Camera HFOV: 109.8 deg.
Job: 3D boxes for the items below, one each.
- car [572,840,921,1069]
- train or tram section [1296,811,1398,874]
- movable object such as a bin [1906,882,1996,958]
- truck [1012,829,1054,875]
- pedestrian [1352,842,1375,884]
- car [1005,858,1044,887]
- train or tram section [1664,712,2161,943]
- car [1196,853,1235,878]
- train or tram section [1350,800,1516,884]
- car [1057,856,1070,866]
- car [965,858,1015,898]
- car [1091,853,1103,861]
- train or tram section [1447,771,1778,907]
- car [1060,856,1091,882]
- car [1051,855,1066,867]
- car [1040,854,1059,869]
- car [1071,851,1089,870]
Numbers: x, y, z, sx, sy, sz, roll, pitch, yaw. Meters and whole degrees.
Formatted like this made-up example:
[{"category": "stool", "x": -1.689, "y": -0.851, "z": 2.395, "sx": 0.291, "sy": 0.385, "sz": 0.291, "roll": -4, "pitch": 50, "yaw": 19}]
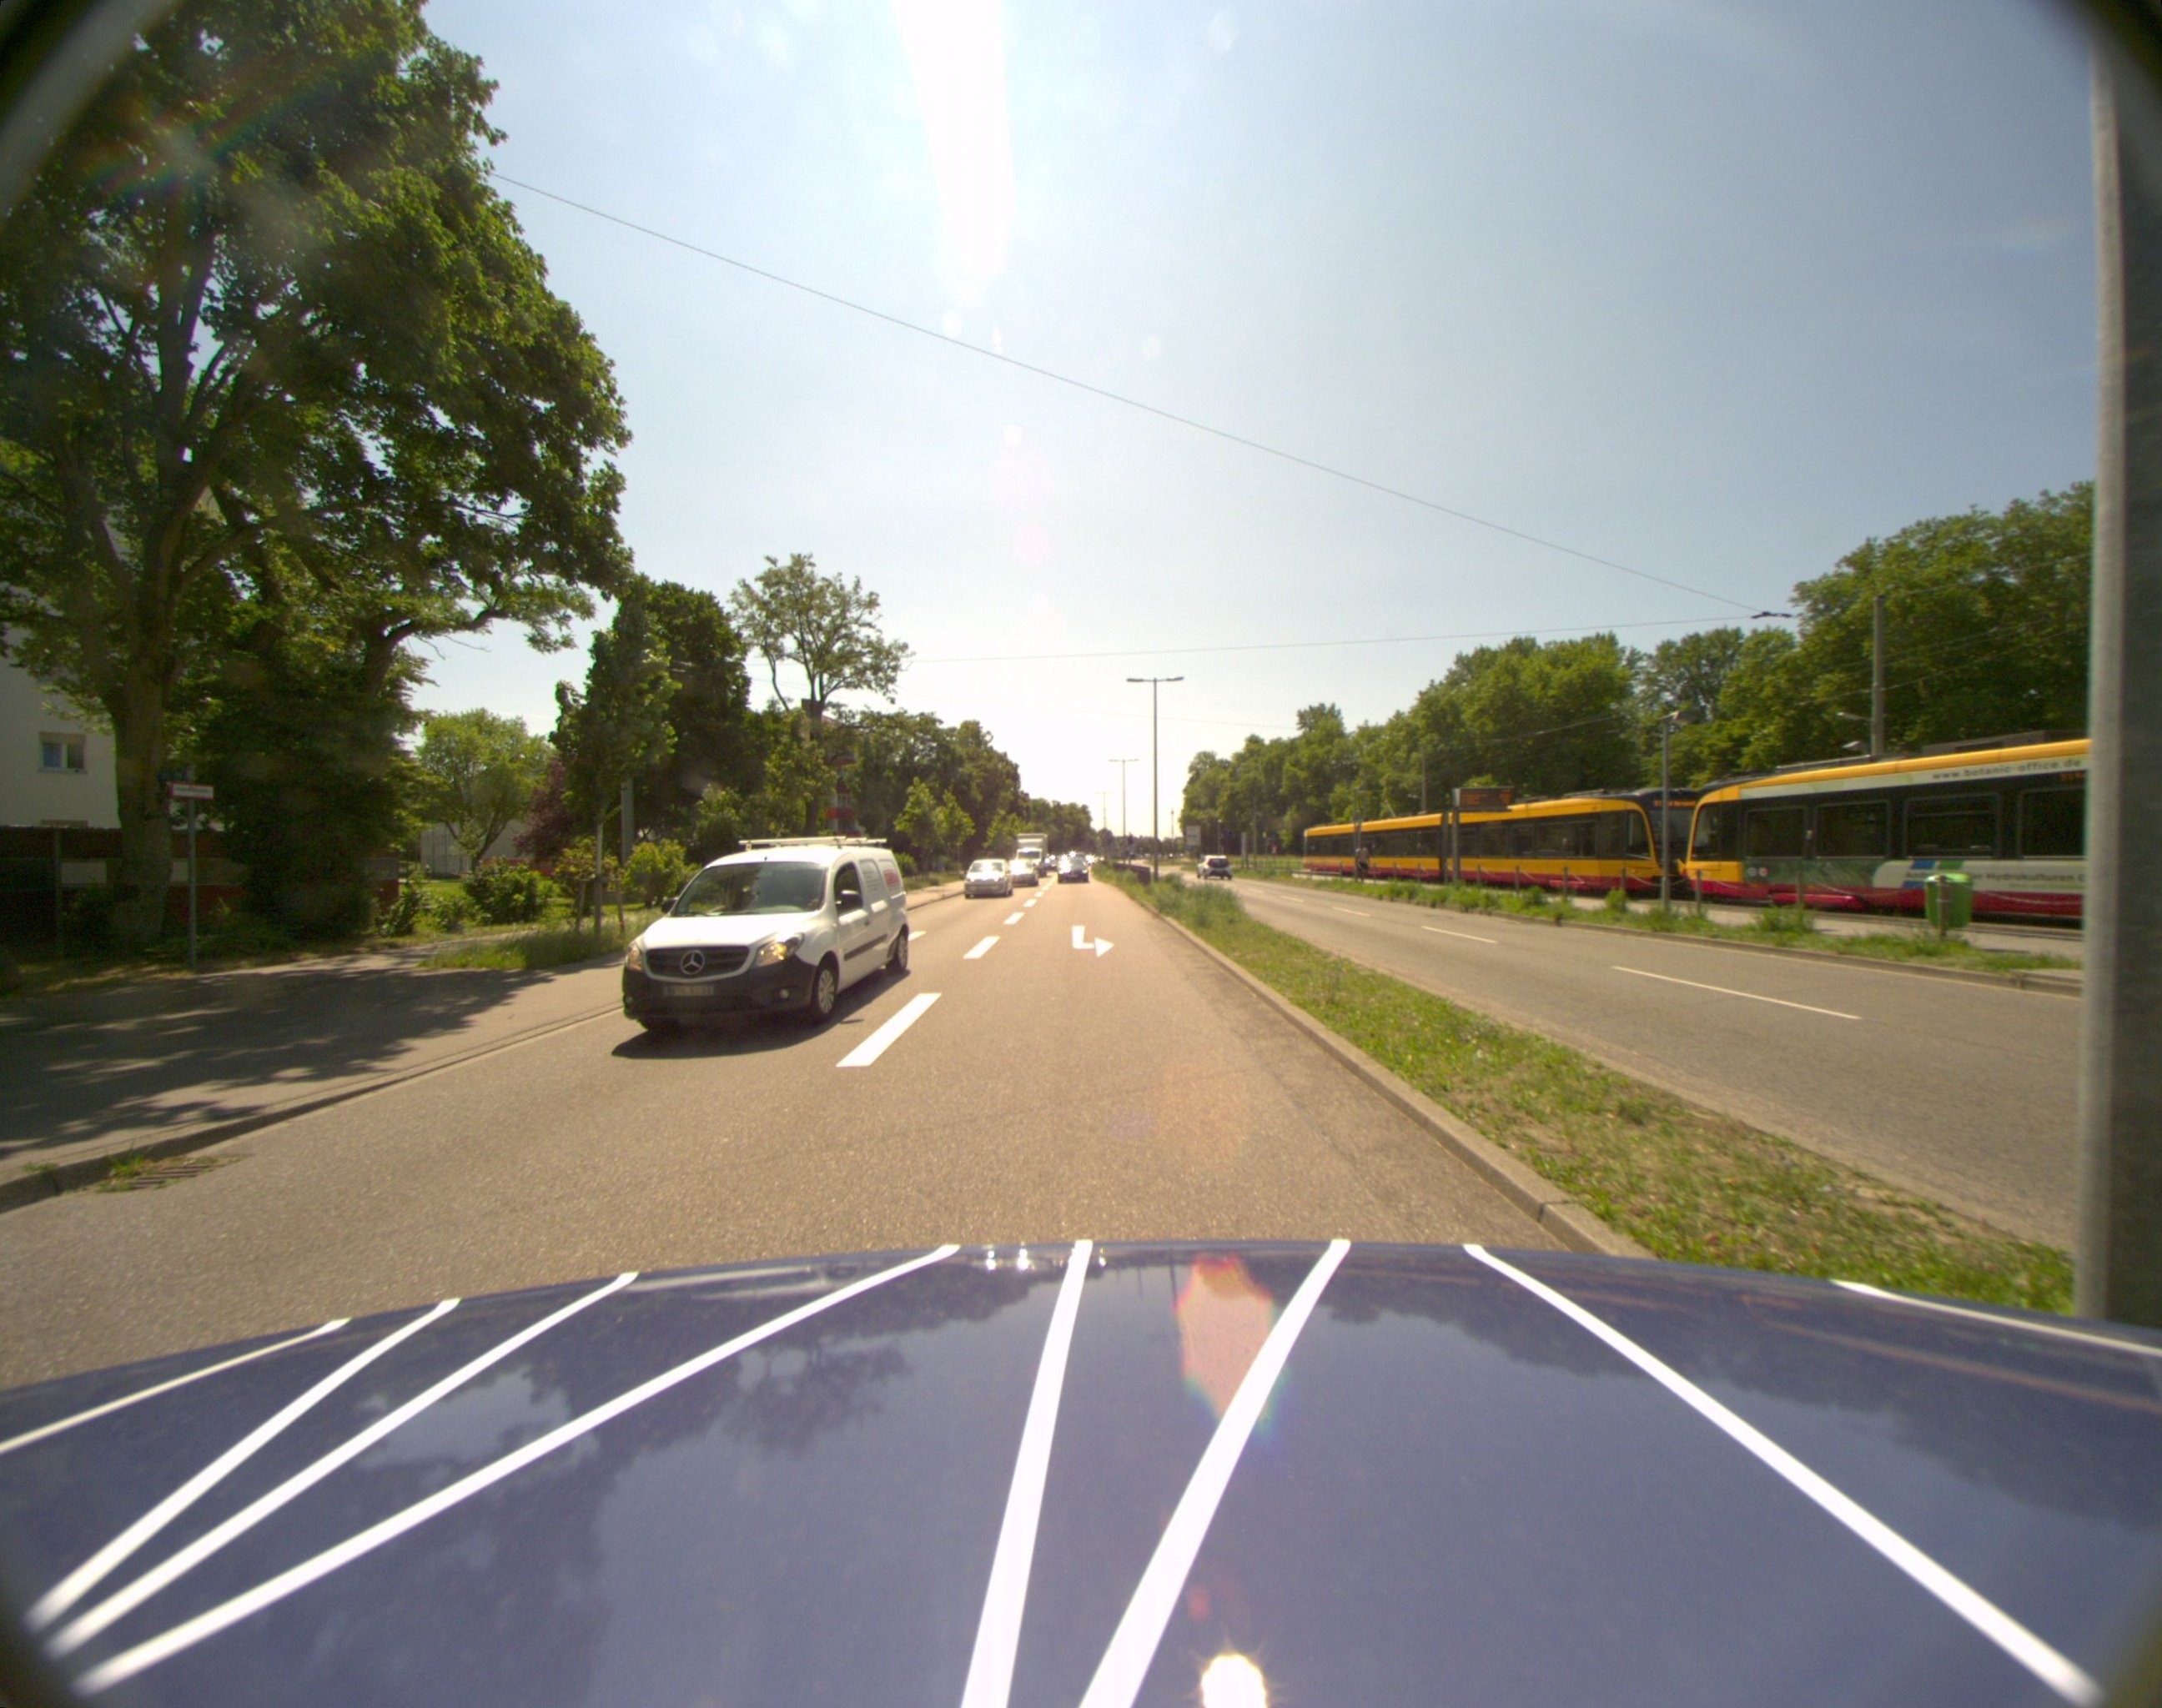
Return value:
[{"category": "car", "x": -3.322, "y": 0.836, "z": 8.894, "sx": 1.809, "sy": 1.845, "sz": 5.081, "roll": -2, "pitch": 0, "yaw": -1}, {"category": "train or tram section", "x": 18.293, "y": -0.724, "z": 53.268, "sx": 2.957, "sy": 3.833, "sz": 11.539, "roll": -2, "pitch": 0, "yaw": 0}, {"category": "movable object such as a bin", "x": 11.798, "y": 0.880, "z": 10.316, "sx": 0.482, "sy": 0.972, "sz": 0.645, "roll": -1, "pitch": 1, "yaw": -4}, {"category": "truck", "x": -3.639, "y": -0.153, "z": 58.680, "sx": 2.490, "sy": 3.277, "sz": 6.605, "roll": -1, "pitch": 0, "yaw": 2}, {"category": "pedestrian", "x": 12.271, "y": 0.400, "z": 33.002, "sx": 0.633, "sy": 1.781, "sz": 0.776, "roll": -2, "pitch": 1, "yaw": -2}, {"category": "car", "x": -2.984, "y": 0.963, "z": 40.896, "sx": 1.618, "sy": 1.373, "sz": 4.115, "roll": -2, "pitch": 0, "yaw": 1}, {"category": "train or tram section", "x": 18.339, "y": -0.467, "z": 14.671, "sx": 3.052, "sy": 3.603, "sz": 13.894, "roll": -2, "pitch": 0, "yaw": -2}, {"category": "car", "x": 8.511, "y": 0.695, "z": 48.388, "sx": 1.774, "sy": 1.496, "sz": 3.719, "roll": -1, "pitch": 0, "yaw": -1}, {"category": "train or tram section", "x": 18.364, "y": -0.559, "z": 41.155, "sx": 3.051, "sy": 3.719, "sz": 12.594, "roll": -2, "pitch": 0, "yaw": 0}, {"category": "car", "x": -2.502, "y": 0.957, "z": 111.663, "sx": 1.746, "sy": 1.382, "sz": 3.887, "roll": -1, "pitch": 0, "yaw": 1}, {"category": "car", "x": -3.591, "y": 0.927, "z": 30.543, "sx": 1.626, "sy": 1.433, "sz": 3.498, "roll": -2, "pitch": 0, "yaw": -1}, {"category": "car", "x": 2.799, "y": 0.511, "z": 133.042, "sx": 1.745, "sy": 1.382, "sz": 3.889, "roll": -1, "pitch": 0, "yaw": 6}, {"category": "train or tram section", "x": 18.330, "y": -0.450, "z": 28.266, "sx": 3.051, "sy": 3.745, "sz": 13.261, "roll": -2, "pitch": 0, "yaw": 0}, {"category": "car", "x": -0.280, "y": 0.845, "z": 44.555, "sx": 1.746, "sy": 1.382, "sz": 3.887, "roll": -1, "pitch": 0, "yaw": 1}, {"category": "car", "x": -2.761, "y": 0.858, "z": 94.486, "sx": 1.618, "sy": 1.373, "sz": 4.115, "roll": -2, "pitch": 0, "yaw": 1}, {"category": "car", "x": -3.284, "y": 0.757, "z": 79.020, "sx": 1.746, "sy": 1.382, "sz": 3.887, "roll": -1, "pitch": 0, "yaw": 1}, {"category": "car", "x": -0.097, "y": 0.647, "z": 78.287, "sx": 1.746, "sy": 1.840, "sz": 3.887, "roll": -1, "pitch": 0, "yaw": 1}]
